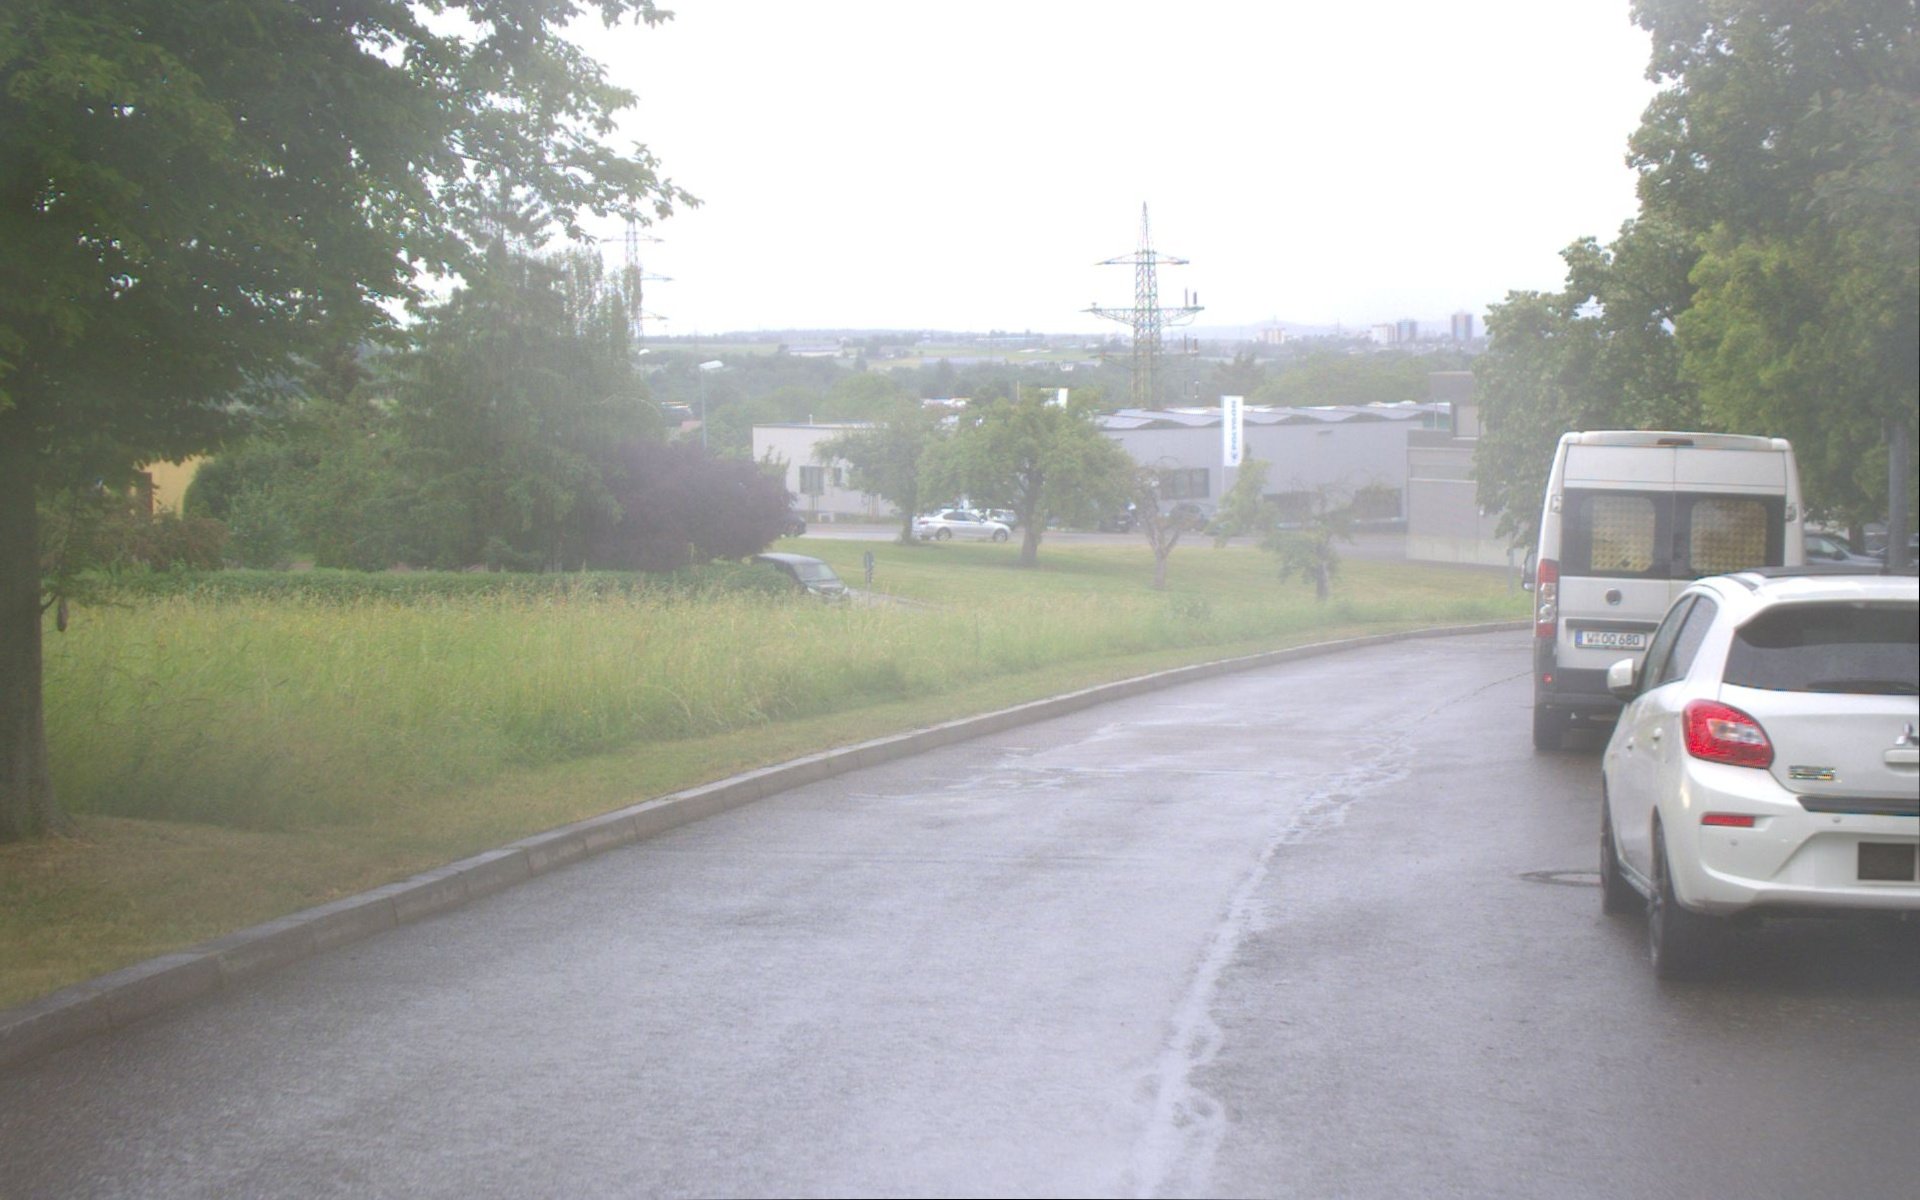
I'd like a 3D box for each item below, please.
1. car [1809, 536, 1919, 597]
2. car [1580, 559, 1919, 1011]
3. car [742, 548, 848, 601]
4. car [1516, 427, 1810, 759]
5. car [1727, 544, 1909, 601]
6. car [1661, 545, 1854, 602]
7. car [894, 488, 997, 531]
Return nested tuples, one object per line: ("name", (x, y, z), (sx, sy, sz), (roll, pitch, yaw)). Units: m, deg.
("car", (24.568, -0.885, 90.705), (3.875, 1.542, 1.771), (2, 1, 26))
("car", (3.379, 0.615, 13.406), (1.606, 1.497, 3.725), (1, 1, 6))
("car", (-5.434, -0.842, 112.952), (1.775, 1.591, 4.000), (-1, 3, -31))
("car", (5.816, -0.114, 28.749), (2.119, 2.459, 5.507), (2, 1, 11))
("car", (20.943, -0.676, 83.879), (3.993, 1.356, 1.851), (0, 1, 27))
("car", (19.069, -0.639, 82.258), (4.171, 1.350, 1.859), (0, 1, 27))
("car", (-0.654, -4.160, 157.394), (4.261, 1.696, 1.798), (2, 4, -26))
